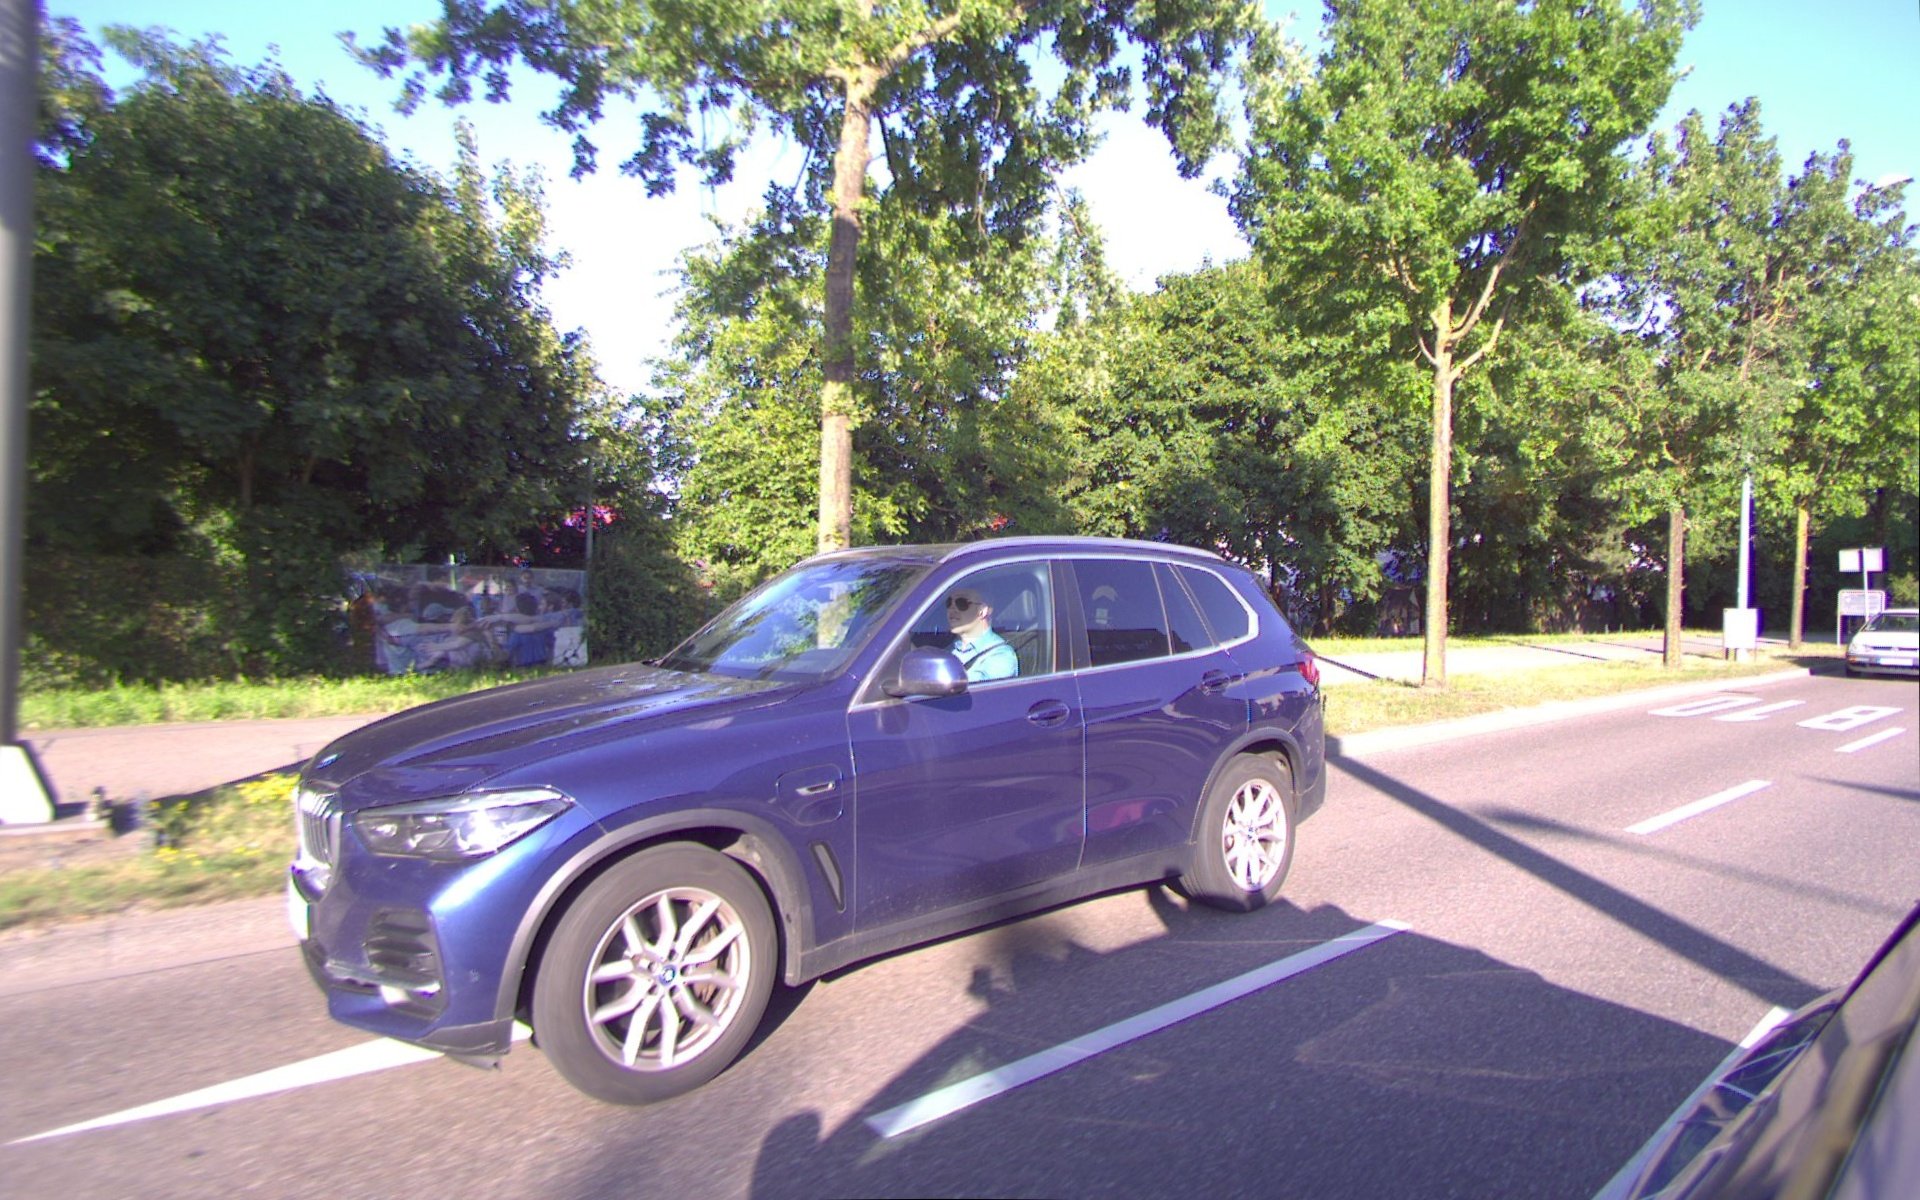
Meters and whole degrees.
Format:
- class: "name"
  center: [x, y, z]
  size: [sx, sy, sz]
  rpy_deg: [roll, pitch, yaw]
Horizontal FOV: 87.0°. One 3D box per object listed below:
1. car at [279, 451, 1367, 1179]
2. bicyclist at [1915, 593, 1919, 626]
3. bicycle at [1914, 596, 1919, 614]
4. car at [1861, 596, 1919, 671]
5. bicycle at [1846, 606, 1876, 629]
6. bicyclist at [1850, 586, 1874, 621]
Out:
- class: "car"
  center: [-0.275, 0.500, 4.642]
  size: [4.613, 1.748, 1.960]
  rpy_deg: [0, 0, -38]
- class: "bicyclist"
  center: [53.092, 0.530, 55.701]
  size: [0.832, 1.755, 0.605]
  rpy_deg: [1, 0, -36]
- class: "bicycle"
  center: [53.453, 0.300, 55.976]
  size: [2.020, 0.986, 0.618]
  rpy_deg: [1, 0, -36]
- class: "car"
  center: [19.765, 0.684, 20.586]
  size: [3.966, 1.416, 1.614]
  rpy_deg: [2, -1, -40]
- class: "bicycle"
  center: [40.351, 0.763, 45.308]
  size: [1.787, 0.986, 0.618]
  rpy_deg: [1, 0, -36]
- class: "bicyclist"
  center: [40.430, 0.149, 45.354]
  size: [0.832, 1.520, 0.615]
  rpy_deg: [1, 0, -36]
